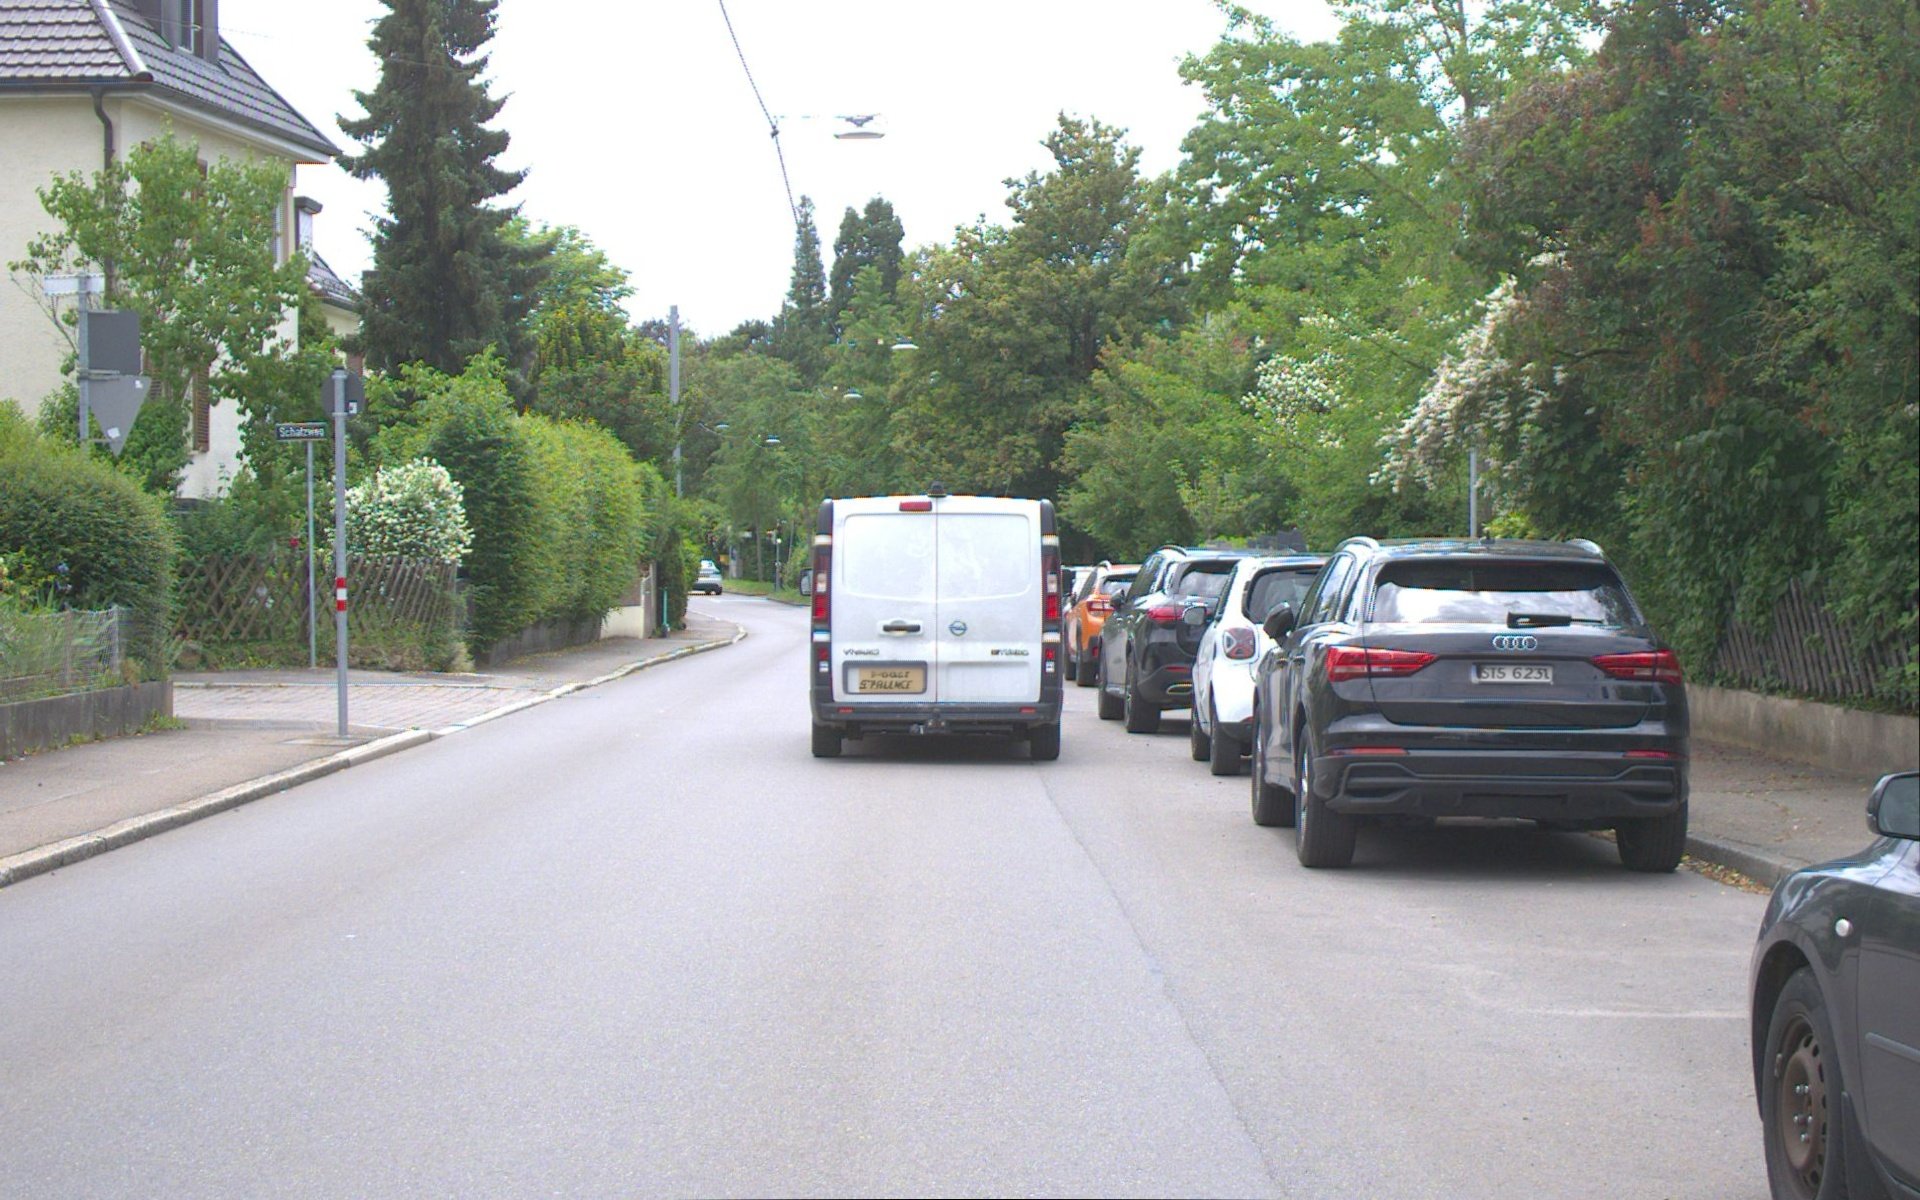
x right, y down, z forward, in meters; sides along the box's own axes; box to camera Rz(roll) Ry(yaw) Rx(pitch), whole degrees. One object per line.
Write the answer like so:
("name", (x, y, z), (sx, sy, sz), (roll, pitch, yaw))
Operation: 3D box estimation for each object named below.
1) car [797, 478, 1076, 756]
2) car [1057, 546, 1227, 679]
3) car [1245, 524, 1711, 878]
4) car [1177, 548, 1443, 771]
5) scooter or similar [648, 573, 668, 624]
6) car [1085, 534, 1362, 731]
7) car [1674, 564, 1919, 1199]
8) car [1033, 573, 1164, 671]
("car", (-0.268, 0.080, 26.723), (1.929, 1.957, 4.402), (1, 1, -3))
("car", (2.338, 0.149, 45.150), (1.850, 1.621, 4.170), (2, 0, -2))
("car", (2.513, 0.438, 17.618), (1.801, 1.586, 4.141), (0, 0, 1))
("car", (2.472, 0.398, 24.853), (1.598, 1.505, 3.013), (0, 0, 0))
("scooter or similar", (-7.052, -0.032, 80.345), (0.391, 1.167, 1.270), (1, 0, -2))
("car", (2.324, 0.265, 31.421), (1.950, 1.621, 4.377), (2, 0, -3))
("car", (2.659, 0.688, 6.007), (1.716, 1.455, 4.142), (0, 1, -4))
("car", (2.021, 0.314, 51.272), (1.716, 1.377, 4.236), (1, 0, -1))
